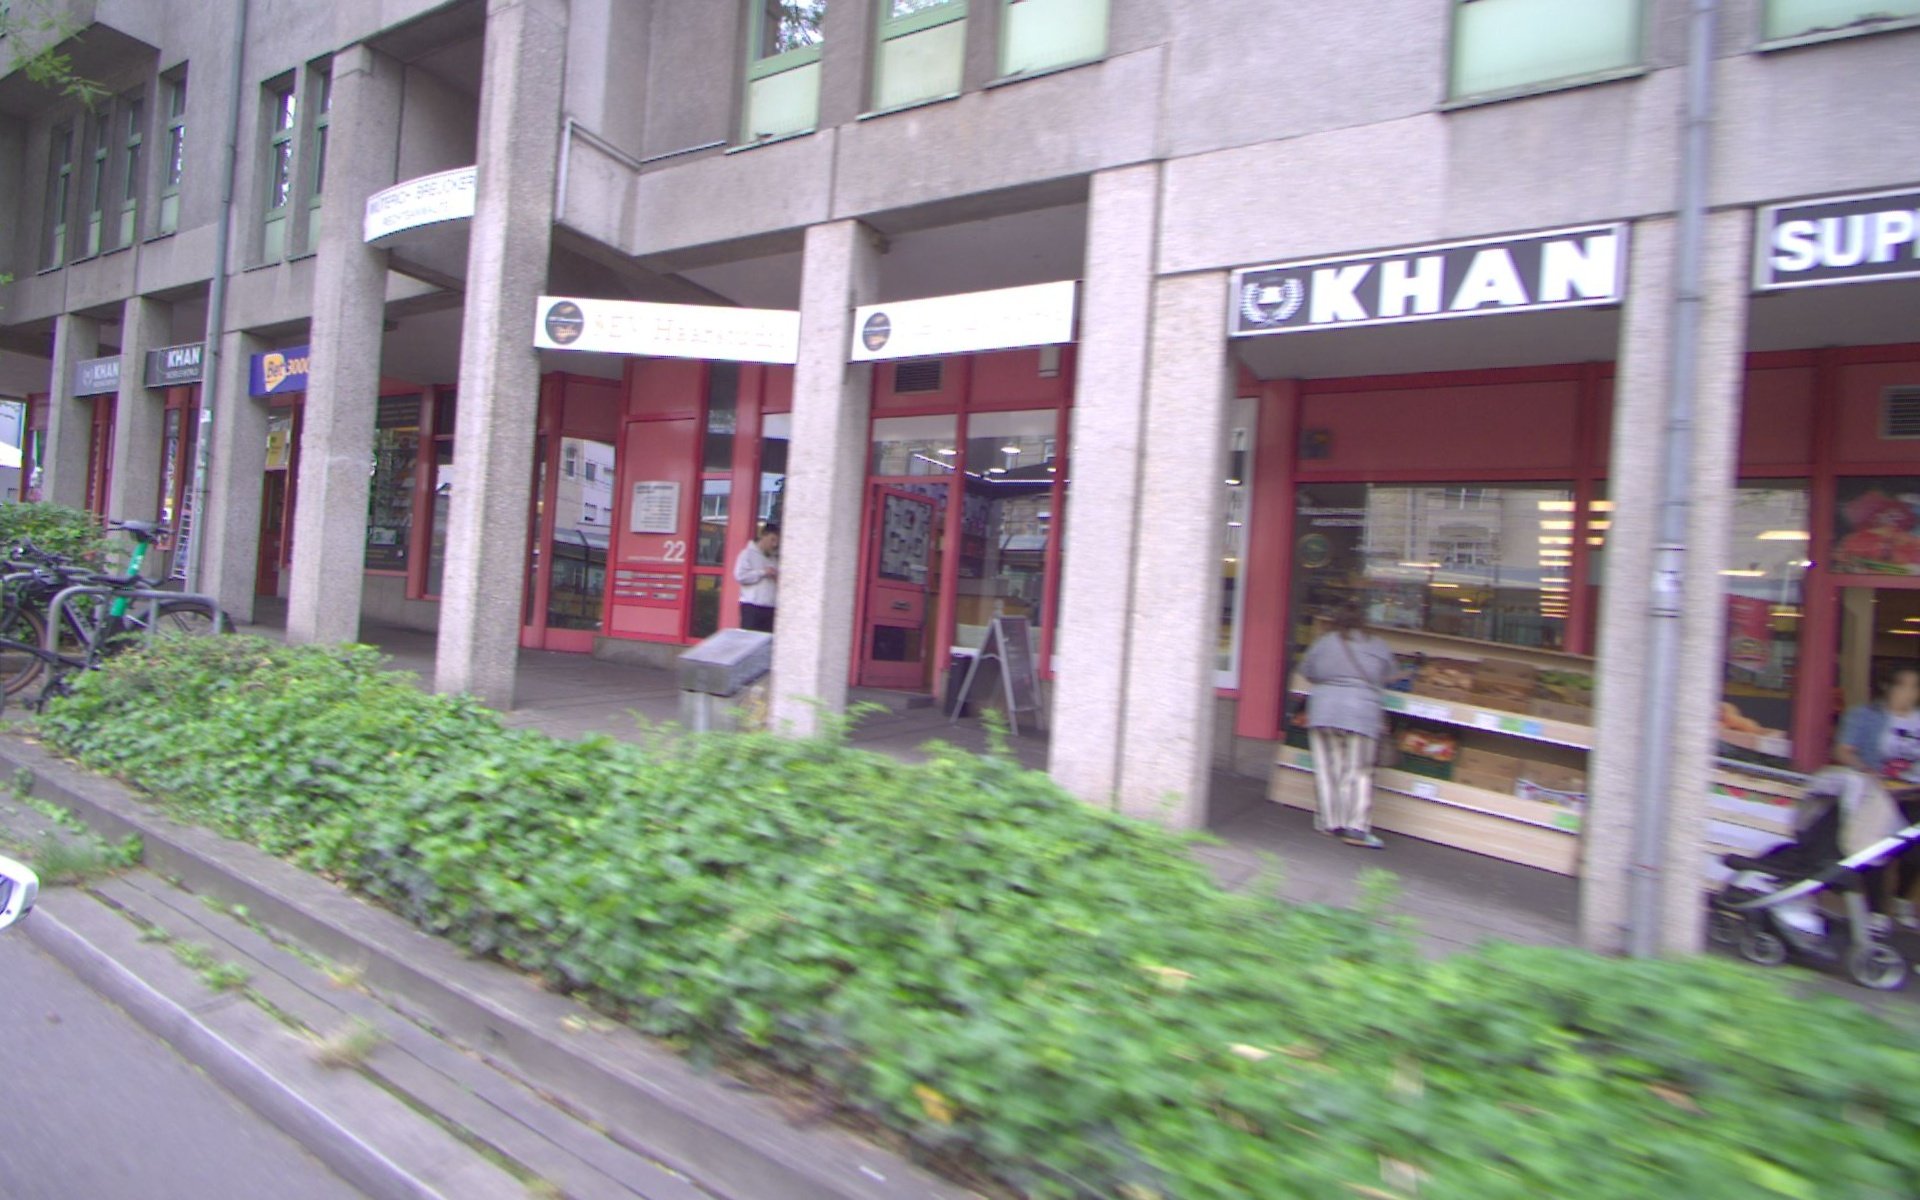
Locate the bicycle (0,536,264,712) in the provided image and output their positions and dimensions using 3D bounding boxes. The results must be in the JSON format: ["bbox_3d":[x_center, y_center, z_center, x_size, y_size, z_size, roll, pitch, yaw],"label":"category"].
[{"bbox_3d":[-6.018,0.158,6.912,0.603,1.090,1.918,6,1,29],"label":"bicycle"}]

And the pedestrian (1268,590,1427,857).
[{"bbox_3d":[2.647,0.803,6.870,0.766,1.633,0.617,8,3,24],"label":"pedestrian"}]

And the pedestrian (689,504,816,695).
[{"bbox_3d":[-2.120,0.003,10.317,0.712,1.827,0.831,9,3,34],"label":"pedestrian"}]

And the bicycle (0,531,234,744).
[{"bbox_3d":[-5.287,0.201,5.811,0.604,1.142,1.619,6,1,35],"label":"bicycle"}]

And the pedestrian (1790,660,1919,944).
[{"bbox_3d":[5.881,1.246,6.341,0.752,1.633,0.616,9,3,36],"label":"pedestrian"}]

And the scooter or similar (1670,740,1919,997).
[{"bbox_3d":[4.468,1.371,5.293,0.845,1.124,0.762,5,1,-16],"label":"scooter or similar"}]

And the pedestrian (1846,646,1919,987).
[{"bbox_3d":[5.353,1.160,5.232,0.666,1.744,0.762,5,0,-17],"label":"pedestrian"}]
